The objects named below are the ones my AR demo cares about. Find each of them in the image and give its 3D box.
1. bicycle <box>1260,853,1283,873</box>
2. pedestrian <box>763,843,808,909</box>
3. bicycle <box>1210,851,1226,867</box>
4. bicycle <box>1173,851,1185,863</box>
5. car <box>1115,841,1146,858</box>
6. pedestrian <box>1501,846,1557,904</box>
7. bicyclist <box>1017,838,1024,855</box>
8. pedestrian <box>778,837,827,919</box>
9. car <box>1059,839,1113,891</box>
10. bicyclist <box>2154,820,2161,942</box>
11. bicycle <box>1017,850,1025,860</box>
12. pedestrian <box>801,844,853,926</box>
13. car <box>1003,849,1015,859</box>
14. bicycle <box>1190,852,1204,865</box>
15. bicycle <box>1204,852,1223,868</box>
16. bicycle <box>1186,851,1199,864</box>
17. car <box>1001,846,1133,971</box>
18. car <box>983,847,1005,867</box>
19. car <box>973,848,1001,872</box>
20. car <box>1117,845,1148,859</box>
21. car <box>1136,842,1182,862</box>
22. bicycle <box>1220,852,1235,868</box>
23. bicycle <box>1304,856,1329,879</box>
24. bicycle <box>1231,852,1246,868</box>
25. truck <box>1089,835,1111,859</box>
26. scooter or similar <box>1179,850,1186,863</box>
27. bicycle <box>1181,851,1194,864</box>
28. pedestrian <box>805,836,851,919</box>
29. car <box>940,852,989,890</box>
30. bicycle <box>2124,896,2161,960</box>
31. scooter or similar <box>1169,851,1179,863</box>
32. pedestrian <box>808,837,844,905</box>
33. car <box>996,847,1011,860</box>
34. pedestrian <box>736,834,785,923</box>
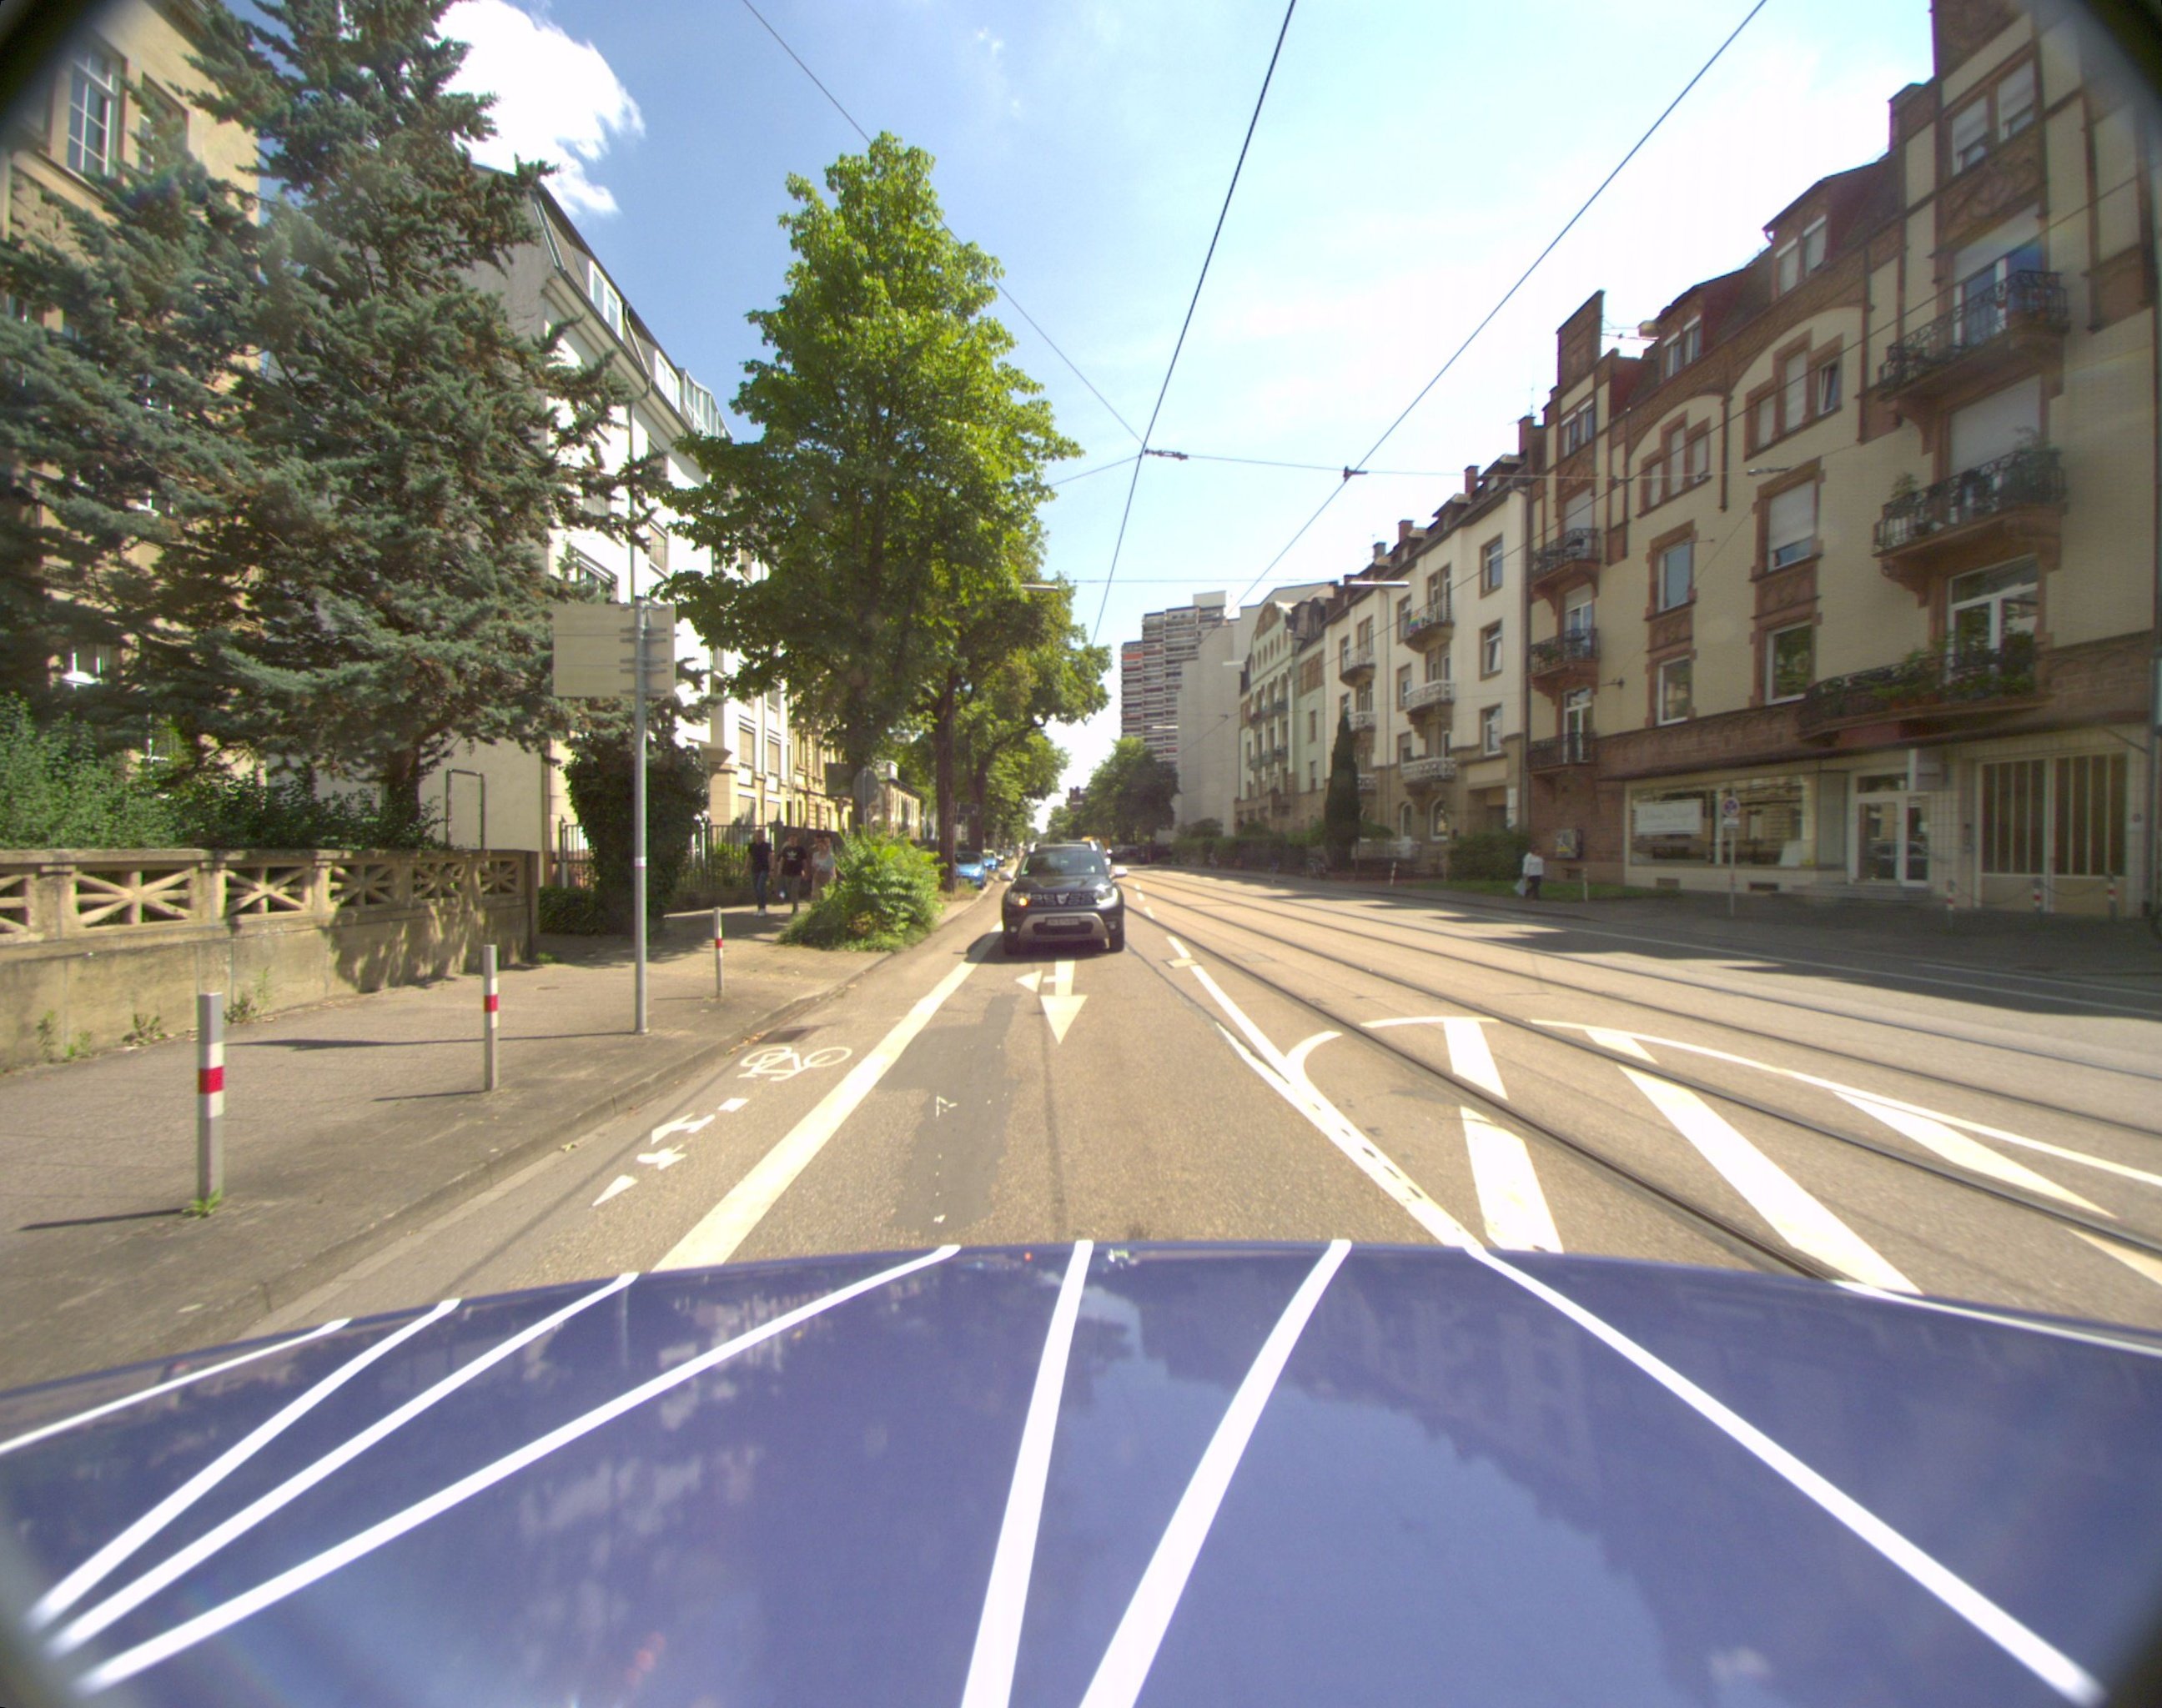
[{"bbox_3d":[10.314,0.473,41.211,0.609,1.059,1.770,-4,1,-5],"label":"bicycle"},{"bbox_3d":[-7.474,0.547,19.261,0.859,1.636,0.836,0,1,-7],"label":"pedestrian"},{"bbox_3d":[9.517,0.354,52.875,0.609,1.026,1.770,-4,1,-5],"label":"bicycle"},{"bbox_3d":[8.463,0.257,65.665,0.609,0.983,1.707,-4,1,-5],"label":"bicycle"},{"bbox_3d":[6.196,-0.539,94.747,4.061,2.030,1.597,-1,1,-45],"label":"car"},{"bbox_3d":[12.251,0.558,20.813,0.903,1.533,0.983,0,1,-6],"label":"pedestrian"},{"bbox_3d":[-6.947,-0.860,87.174,0.773,2.002,0.807,0,1,-8],"label":"bicyclist"},{"bbox_3d":[-6.112,0.502,16.725,0.790,1.751,1.051,0,1,-7],"label":"pedestrian"},{"bbox_3d":[0.107,0.387,29.693,1.753,1.806,4.306,-3,1,-4],"label":"car"},{"bbox_3d":[15.101,0.372,9.999,0.758,1.653,0.830,0,1,-1],"label":"bicyclist"},{"bbox_3d":[-6.889,0.069,87.414,0.812,1.089,2.172,-2,1,-6],"label":"bicycle"},{"bbox_3d":[-5.209,0.608,15.636,0.768,1.641,0.973,0,1,-2],"label":"pedestrian"},{"bbox_3d":[-10.295,-0.041,109.176,1.626,1.395,3.998,2,0,-4],"label":"car"},{"bbox_3d":[8.921,0.331,58.392,0.609,0.970,1.770,-4,1,-5],"label":"bicycle"},{"bbox_3d":[8.813,0.393,50.600,0.608,0.993,1.778,1,1,31],"label":"bicycle"},{"bbox_3d":[8.861,0.298,60.268,0.609,0.983,1.707,-4,1,-5],"label":"bicycle"},{"bbox_3d":[-0.315,0.718,12.485,1.753,1.641,4.296,-2,1,-4],"label":"car"},{"bbox_3d":[-7.719,0.250,67.680,1.735,1.607,4.082,2,0,-4],"label":"car"},{"bbox_3d":[-6.046,0.357,49.040,1.696,1.444,3.472,0,1,-5],"label":"car"},{"bbox_3d":[6.201,-0.246,91.161,1.677,1.566,3.692,2,2,43],"label":"car"},{"bbox_3d":[7.725,-0.225,74.929,4.596,1.914,1.956,0,1,-41],"label":"car"},{"bbox_3d":[9.553,0.368,49.581,0.465,0.993,1.707,-4,1,-4],"label":"bicycle"},{"bbox_3d":[10.862,0.614,35.022,0.411,0.955,1.840,-3,2,-4],"label":"bicycle"},{"bbox_3d":[9.864,0.380,47.757,0.414,0.960,1.725,-4,1,-4],"label":"bicycle"},{"bbox_3d":[2.364,-0.900,95.443,2.307,2.904,6.512,0,1,-3],"label":"truck"},{"bbox_3d":[8.532,0.207,63.859,0.407,1.114,1.290,0,1,-2],"label":"scooter or similar"},{"bbox_3d":[8.732,0.265,62.263,0.609,0.983,1.707,-4,1,-5],"label":"bicycle"},{"bbox_3d":[-5.523,0.504,16.651,0.706,1.766,0.947,0,1,-2],"label":"pedestrian"},{"bbox_3d":[-4.609,0.629,30.457,1.682,1.435,3.718,0,1,-5],"label":"car"},{"bbox_3d":[15.163,1.027,9.834,0.754,0.813,1.819,-4,1,-6],"label":"bicycle"},{"bbox_3d":[8.247,0.251,67.301,0.407,1.014,1.222,0,1,-20],"label":"scooter or similar"},{"bbox_3d":[-6.910,0.443,20.621,0.686,1.787,1.083,0,1,-4],"label":"pedestrian"},{"bbox_3d":[-9.153,-0.077,89.747,1.626,1.395,3.821,2,0,-4],"label":"car"},{"bbox_3d":[-6.710,0.500,15.945,0.662,1.801,0.976,0,1,-4],"label":"pedestrian"}]
